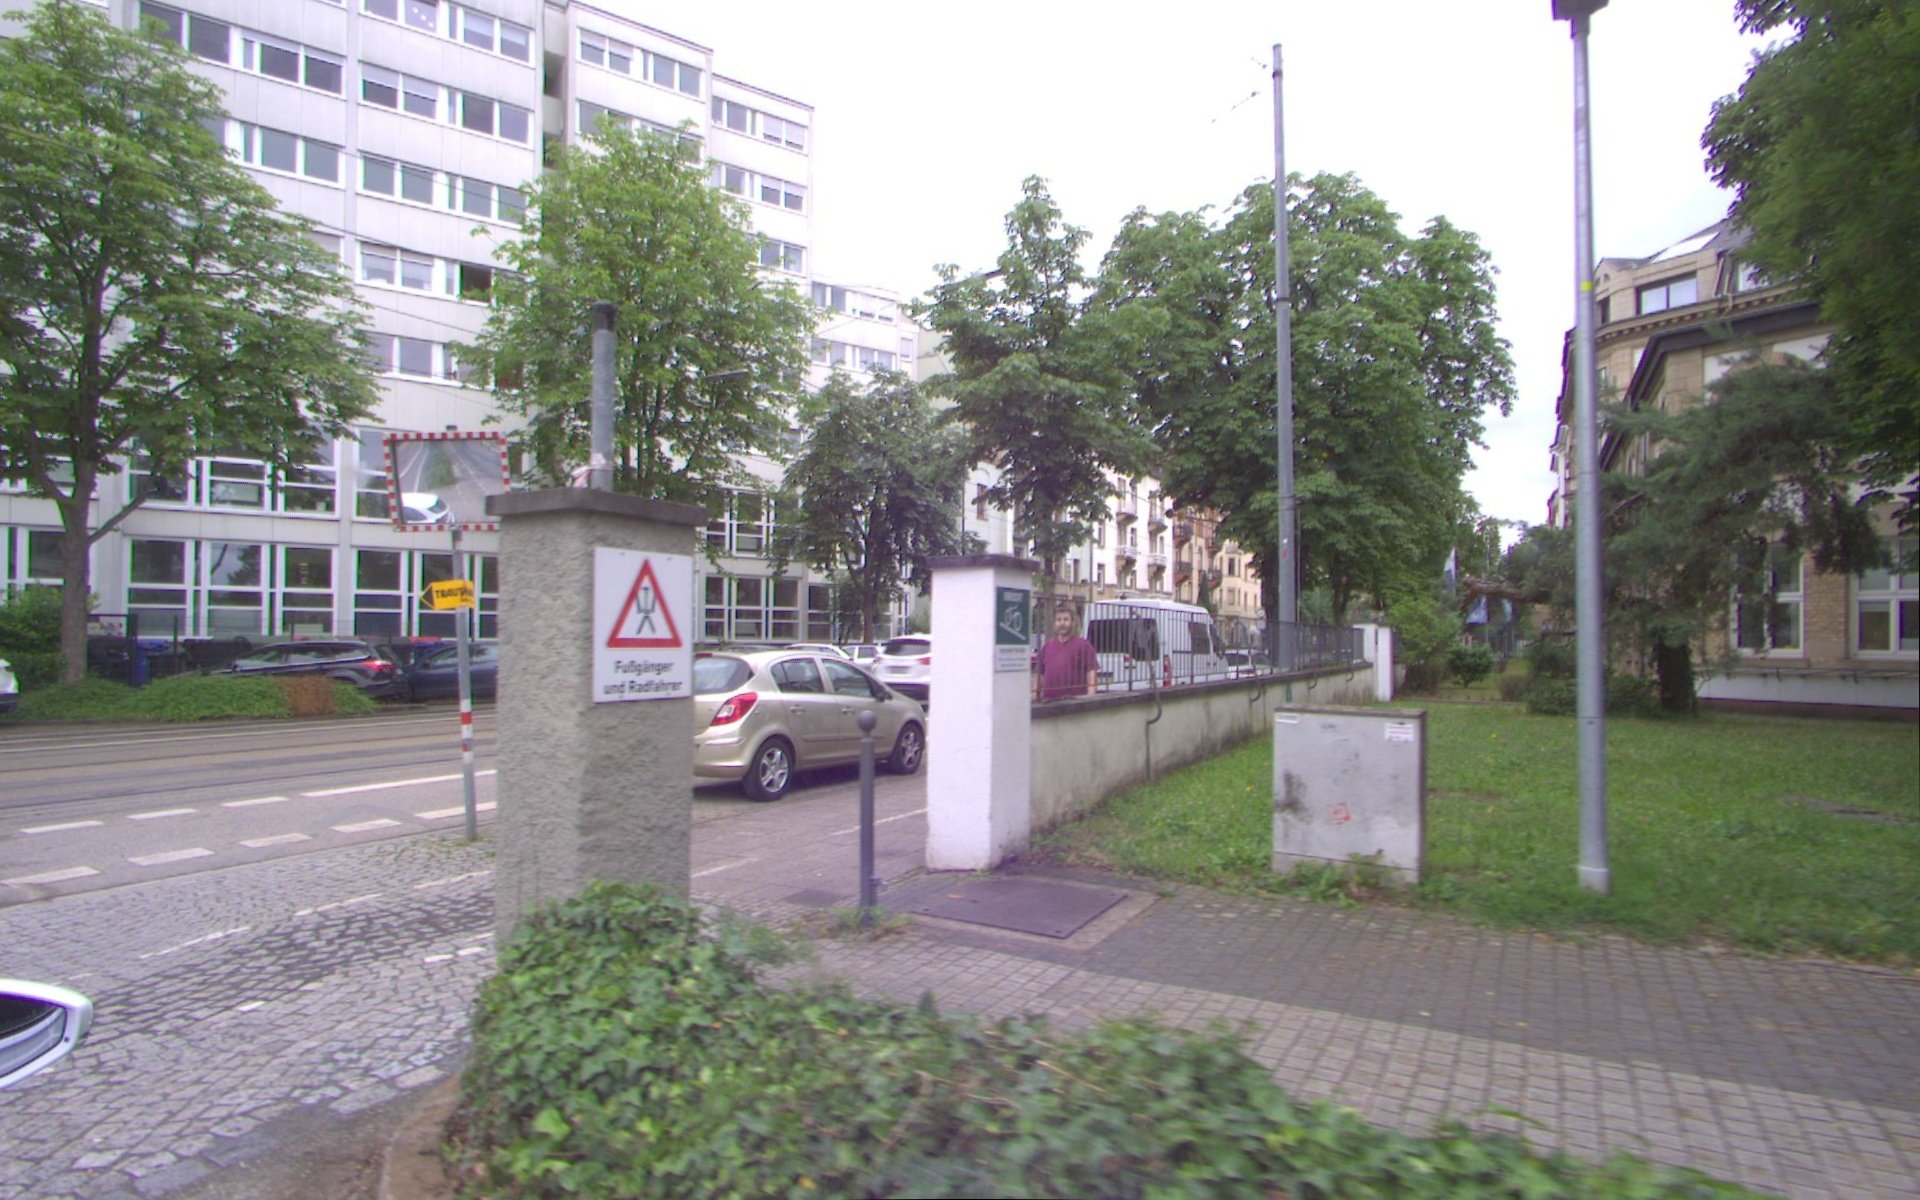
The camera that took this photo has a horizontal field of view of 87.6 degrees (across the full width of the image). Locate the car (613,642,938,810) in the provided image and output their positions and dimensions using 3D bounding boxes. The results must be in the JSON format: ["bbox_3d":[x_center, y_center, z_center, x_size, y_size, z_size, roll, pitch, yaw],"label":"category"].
[{"bbox_3d":[-1.877,1.244,11.178,1.641,1.519,3.579,-1,-2,30],"label":"car"}]

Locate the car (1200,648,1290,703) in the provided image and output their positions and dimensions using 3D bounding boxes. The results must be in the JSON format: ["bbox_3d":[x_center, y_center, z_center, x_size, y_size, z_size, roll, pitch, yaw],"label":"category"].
[{"bbox_3d":[8.094,2.063,28.202,1.783,1.371,3.799,0,-2,27],"label":"car"}]

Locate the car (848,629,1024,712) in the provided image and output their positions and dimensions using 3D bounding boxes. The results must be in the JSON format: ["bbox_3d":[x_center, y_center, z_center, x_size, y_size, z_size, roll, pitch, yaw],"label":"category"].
[{"bbox_3d":[-0.431,1.563,23.340,1.971,1.725,4.580,-1,-2,31],"label":"car"}]

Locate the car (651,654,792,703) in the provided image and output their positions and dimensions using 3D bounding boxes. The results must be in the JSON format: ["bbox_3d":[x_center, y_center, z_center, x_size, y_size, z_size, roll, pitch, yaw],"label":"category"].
[{"bbox_3d":[-7.847,2.573,32.894,4.420,1.491,1.415,0,-4,-18],"label":"car"}]

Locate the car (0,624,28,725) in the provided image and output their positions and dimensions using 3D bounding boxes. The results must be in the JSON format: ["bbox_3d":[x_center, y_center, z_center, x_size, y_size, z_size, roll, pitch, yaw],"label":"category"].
[{"bbox_3d":[-17.094,1.188,15.653,3.344,1.639,1.556,0,-1,-12],"label":"car"}]

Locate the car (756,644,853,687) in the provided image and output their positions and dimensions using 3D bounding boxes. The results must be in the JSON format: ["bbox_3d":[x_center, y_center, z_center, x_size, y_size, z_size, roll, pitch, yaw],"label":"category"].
[{"bbox_3d":[-5.577,2.316,35.849,3.328,1.492,1.415,1,-1,-14],"label":"car"}]

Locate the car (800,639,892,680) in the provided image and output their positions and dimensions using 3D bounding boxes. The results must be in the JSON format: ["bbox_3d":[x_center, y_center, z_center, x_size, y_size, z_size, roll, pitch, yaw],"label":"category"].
[{"bbox_3d":[-4.392,2.268,38.466,3.328,1.492,1.415,1,-1,-14],"label":"car"}]

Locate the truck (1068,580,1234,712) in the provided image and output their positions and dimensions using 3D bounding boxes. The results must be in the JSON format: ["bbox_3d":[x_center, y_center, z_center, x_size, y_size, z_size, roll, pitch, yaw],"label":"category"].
[{"bbox_3d":[4.347,1.002,22.135,2.137,2.578,4.908,0,-2,30],"label":"truck"}]

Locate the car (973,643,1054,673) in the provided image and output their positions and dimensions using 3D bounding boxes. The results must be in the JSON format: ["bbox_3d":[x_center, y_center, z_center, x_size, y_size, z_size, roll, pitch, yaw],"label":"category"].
[{"bbox_3d":[2.654,2.904,50.058,3.724,1.461,1.692,1,-2,-9],"label":"car"}]

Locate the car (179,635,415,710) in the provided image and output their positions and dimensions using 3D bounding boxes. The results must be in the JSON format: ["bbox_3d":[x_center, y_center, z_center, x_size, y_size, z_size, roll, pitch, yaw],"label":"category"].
[{"bbox_3d":[-14.042,1.493,21.456,3.885,1.492,1.671,0,-1,-18],"label":"car"}]

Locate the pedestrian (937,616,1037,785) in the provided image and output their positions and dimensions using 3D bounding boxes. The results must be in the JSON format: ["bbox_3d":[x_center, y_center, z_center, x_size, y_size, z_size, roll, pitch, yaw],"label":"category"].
[{"bbox_3d":[0.309,1.062,10.940,0.789,1.740,0.953,-1,-2,23],"label":"pedestrian"}]

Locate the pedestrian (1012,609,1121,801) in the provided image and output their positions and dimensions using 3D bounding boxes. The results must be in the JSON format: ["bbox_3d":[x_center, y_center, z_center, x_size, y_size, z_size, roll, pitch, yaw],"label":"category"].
[{"bbox_3d":[1.050,0.973,9.706,0.795,1.740,0.953,0,-2,23],"label":"pedestrian"}]

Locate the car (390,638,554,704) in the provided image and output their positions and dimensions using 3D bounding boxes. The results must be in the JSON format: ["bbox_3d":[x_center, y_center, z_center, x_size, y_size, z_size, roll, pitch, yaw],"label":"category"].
[{"bbox_3d":[-11.735,1.681,24.249,3.328,1.492,1.415,0,-1,-14],"label":"car"}]

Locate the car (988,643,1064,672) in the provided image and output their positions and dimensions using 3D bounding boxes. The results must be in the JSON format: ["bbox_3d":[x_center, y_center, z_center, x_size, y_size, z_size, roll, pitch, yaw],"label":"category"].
[{"bbox_3d":[3.433,2.976,52.350,3.724,1.461,1.692,1,-2,-9],"label":"car"}]

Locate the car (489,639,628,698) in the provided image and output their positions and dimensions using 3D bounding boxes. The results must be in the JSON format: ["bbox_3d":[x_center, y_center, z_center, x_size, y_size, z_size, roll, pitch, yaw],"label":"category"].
[{"bbox_3d":[-10.811,1.826,27.152,3.328,1.492,1.415,0,-1,-14],"label":"car"}]
